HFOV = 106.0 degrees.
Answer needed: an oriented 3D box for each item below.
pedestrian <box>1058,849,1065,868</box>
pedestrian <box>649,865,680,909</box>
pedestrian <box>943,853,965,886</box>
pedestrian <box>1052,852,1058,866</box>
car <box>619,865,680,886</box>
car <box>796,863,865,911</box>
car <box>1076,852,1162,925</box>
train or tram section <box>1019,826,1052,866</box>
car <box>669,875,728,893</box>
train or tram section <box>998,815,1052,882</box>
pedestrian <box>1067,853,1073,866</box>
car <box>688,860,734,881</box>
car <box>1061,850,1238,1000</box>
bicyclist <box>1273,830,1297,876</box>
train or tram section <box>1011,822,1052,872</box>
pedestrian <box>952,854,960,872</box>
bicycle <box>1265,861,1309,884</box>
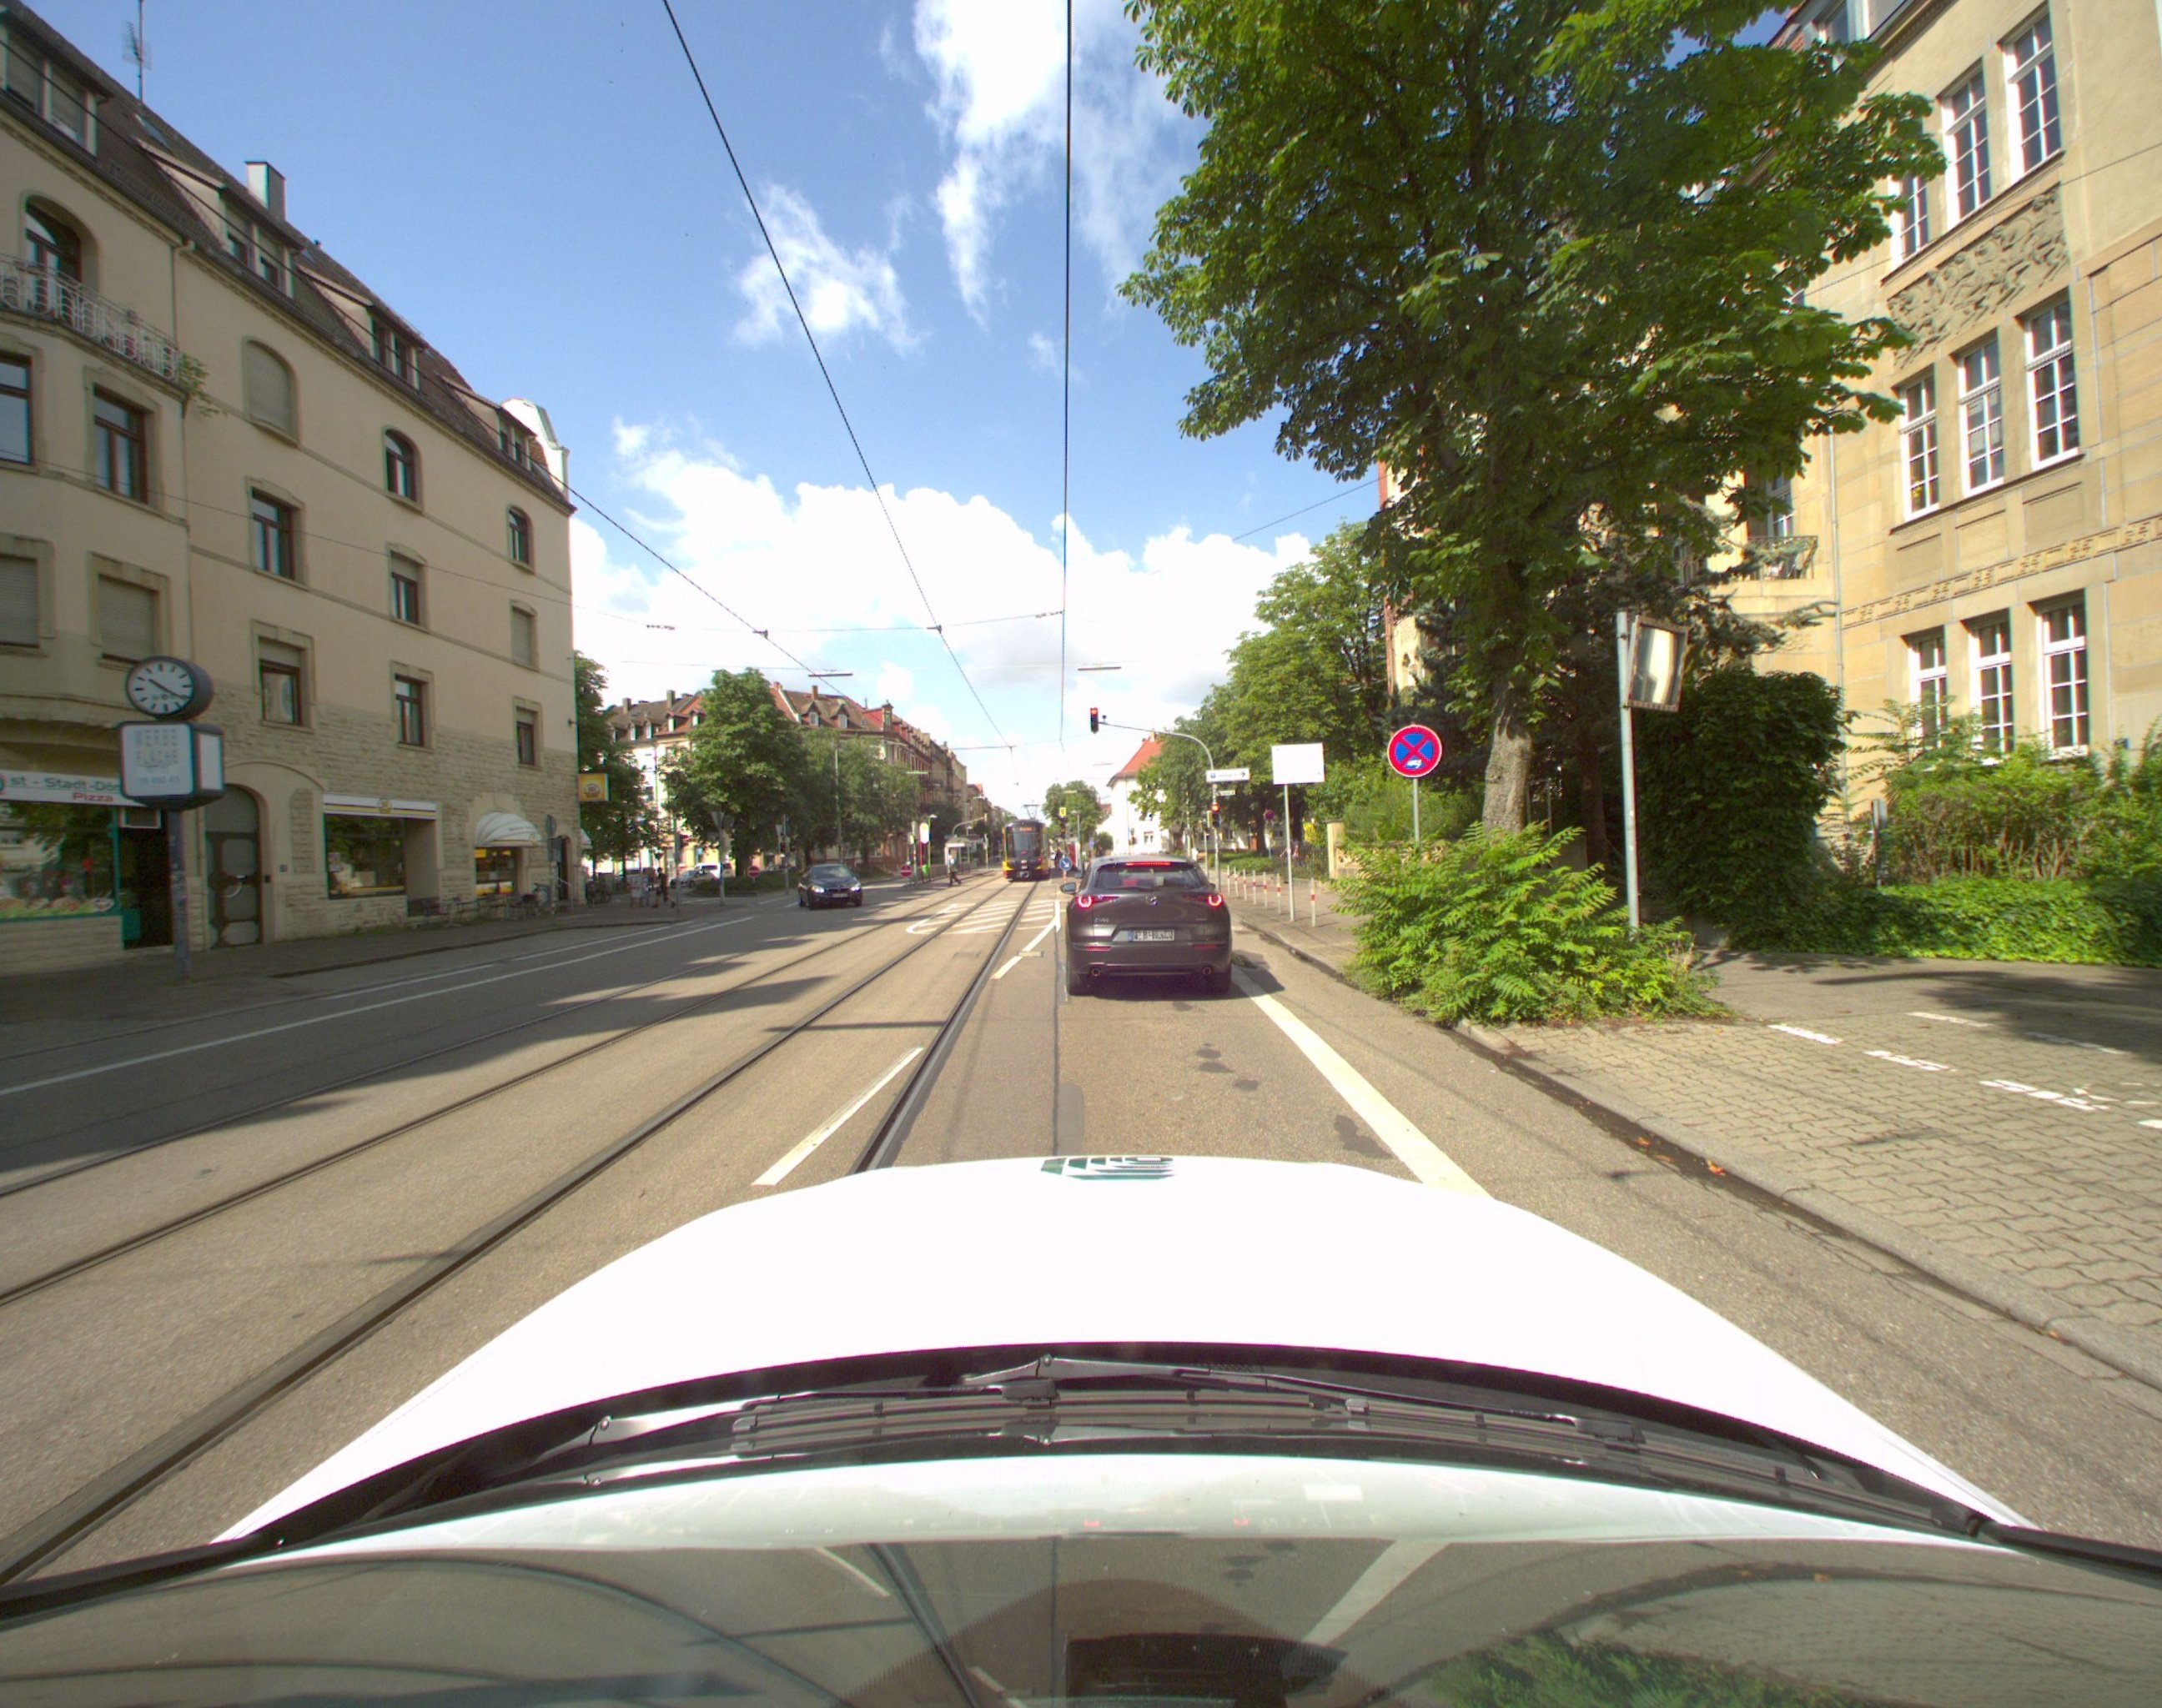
[{"bbox_3d":[-1.553,0.364,64.516,0.449,1.434,0.474,-2,0,-3],"label":"pedestrian"},{"bbox_3d":[-16.531,1.284,32.320,0.746,1.684,0.702,-3,0,11],"label":"pedestrian"},{"bbox_3d":[-6.666,0.797,42.717,0.710,1.705,0.829,-2,0,25],"label":"pedestrian"},{"bbox_3d":[-2.046,0.425,64.141,0.379,1.071,0.474,-2,0,-2],"label":"pedestrian"},{"bbox_3d":[-36.294,1.789,68.554,3.972,1.596,2.001,-3,0,2],"label":"car"},{"bbox_3d":[-9.087,1.135,29.355,1.765,1.518,4.034,-2,0,-25],"label":"car"},{"bbox_3d":[0.839,0.704,18.822,1.772,1.499,4.001,0,0,1],"label":"car"},{"bbox_3d":[-4.348,-0.853,79.879,2.746,3.490,14.396,-2,1,-2],"label":"train or tram section"},{"bbox_3d":[-30.402,2.377,64.804,1.657,1.182,4.024,-2,0,27],"label":"car"},{"bbox_3d":[-3.275,-0.413,51.097,2.746,3.490,14.396,-2,1,-2],"label":"train or tram section"},{"bbox_3d":[-0.871,0.446,64.730,0.379,0.984,0.474,-2,0,-3],"label":"pedestrian"},{"bbox_3d":[-36.630,1.630,80.685,3.950,1.903,2.012,-2,0,26],"label":"car"},{"bbox_3d":[0.738,0.709,10.212,1.772,1.499,4.001,0,0,1],"label":"car"},{"bbox_3d":[8.185,-0.050,32.639,0.610,1.793,0.654,-2,0,-18],"label":"bicyclist"},{"bbox_3d":[-3.807,-0.635,65.464,2.746,3.490,14.396,-2,1,-2],"label":"train or tram section"},{"bbox_3d":[-9.949,0.695,64.937,0.424,1.399,0.401,-2,0,32],"label":"pedestrian"},{"bbox_3d":[8.258,0.723,32.678,1.700,0.824,0.491,-2,0,-21],"label":"bicycle"}]
